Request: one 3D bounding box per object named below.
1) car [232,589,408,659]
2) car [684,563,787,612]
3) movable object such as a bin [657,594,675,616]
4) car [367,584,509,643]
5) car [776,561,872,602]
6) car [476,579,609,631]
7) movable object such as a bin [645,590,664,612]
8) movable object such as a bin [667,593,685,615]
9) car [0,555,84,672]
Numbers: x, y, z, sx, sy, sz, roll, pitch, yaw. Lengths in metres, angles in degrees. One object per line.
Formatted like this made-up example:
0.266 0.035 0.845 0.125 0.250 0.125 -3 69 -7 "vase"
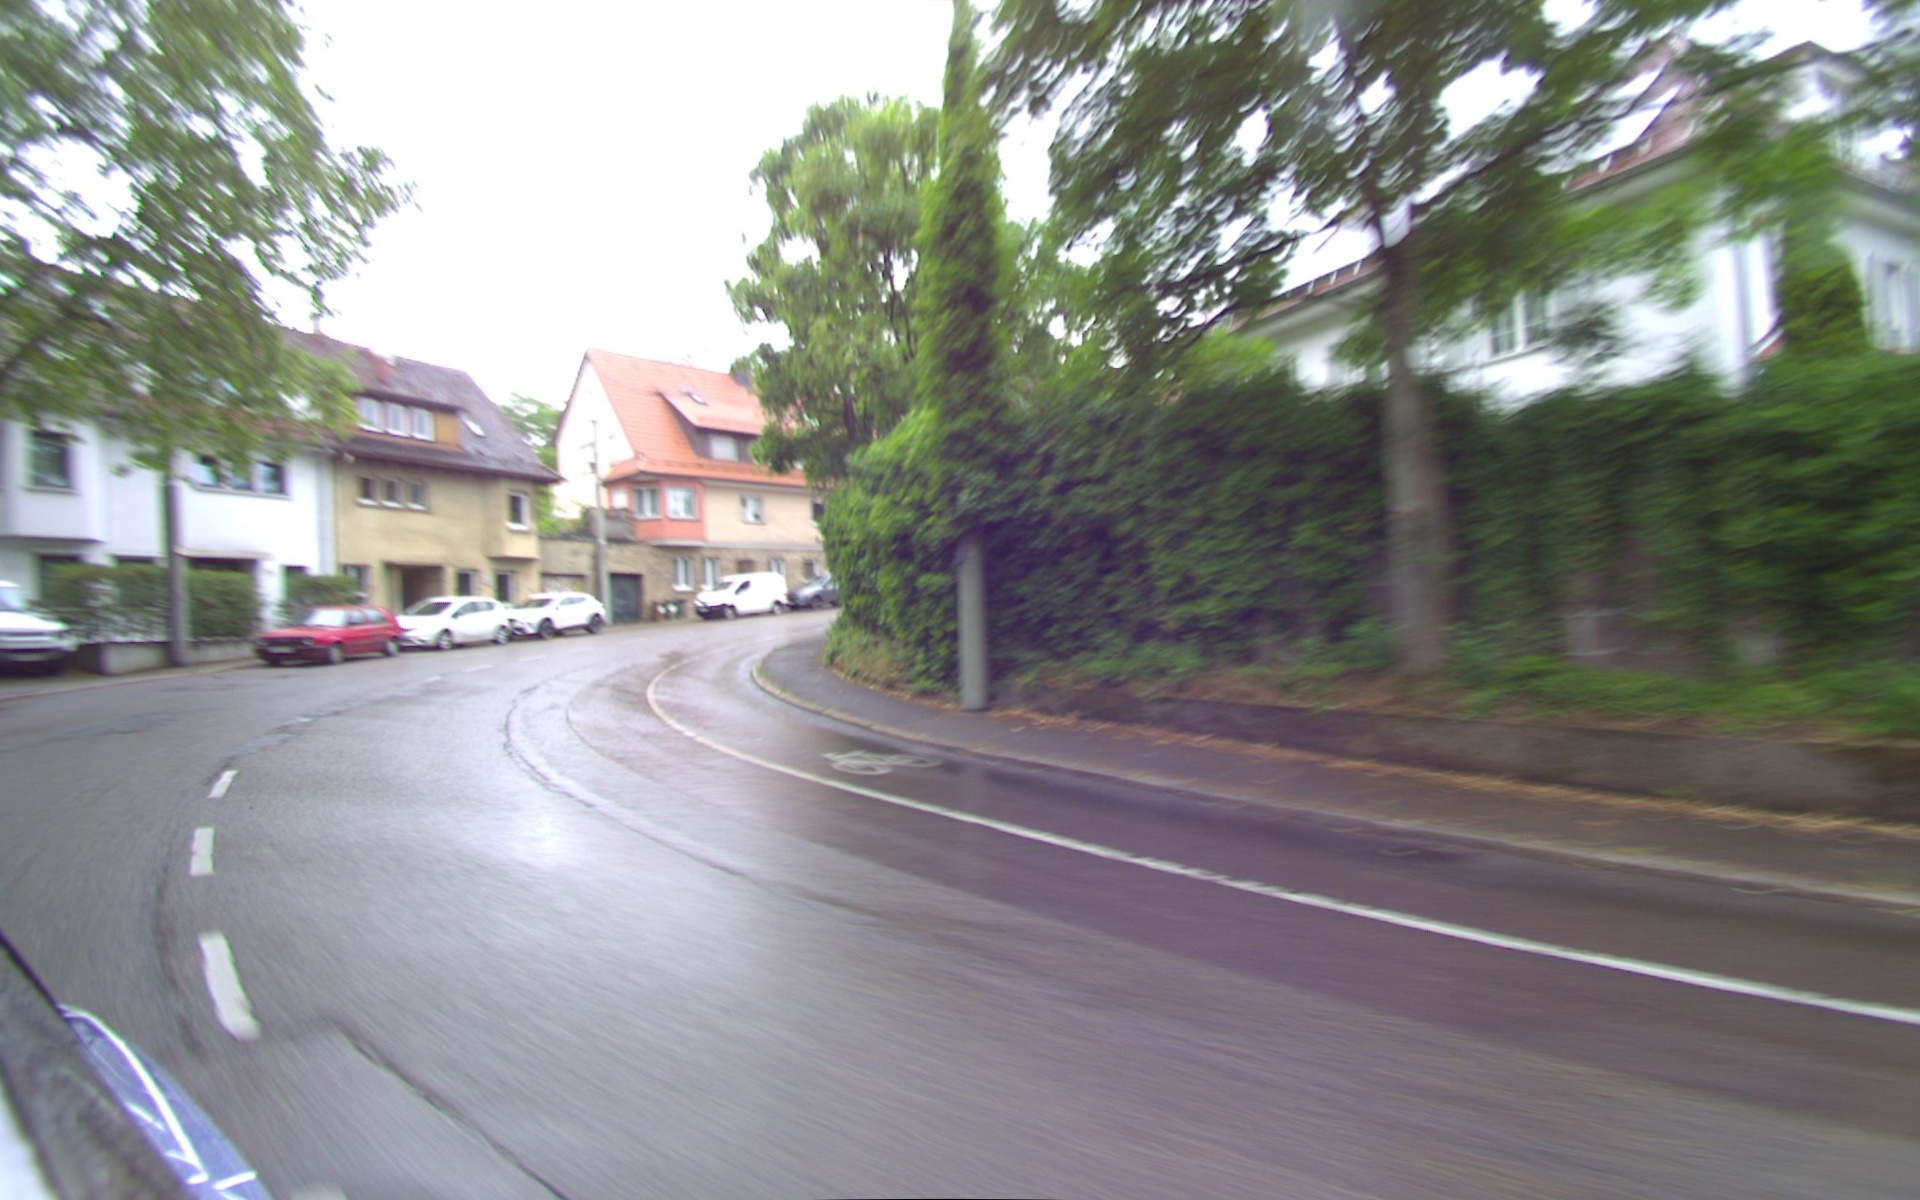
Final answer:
-15.879 0.538 25.410 1.760 1.377 4.197 -3 3 -1 "car"
-9.834 -0.579 44.594 1.707 1.804 4.275 -4 1 36 "car"
-13.038 0.205 44.830 0.582 0.928 0.506 0 4 43 "movable object such as a bin"
-15.541 0.361 30.345 1.752 1.526 3.810 -2 2 11 "car"
-6.473 -0.897 48.425 4.347 1.616 1.621 -6 2 -44 "car"
-14.355 0.111 35.091 1.903 1.550 4.392 -2 2 16 "car"
-13.408 0.061 44.397 0.582 0.928 0.506 0 4 43 "movable object such as a bin"
-12.671 0.166 45.211 0.582 0.928 0.506 0 4 43 "movable object such as a bin"
-20.352 0.176 20.897 4.392 1.856 1.981 9 5 28 "car"
